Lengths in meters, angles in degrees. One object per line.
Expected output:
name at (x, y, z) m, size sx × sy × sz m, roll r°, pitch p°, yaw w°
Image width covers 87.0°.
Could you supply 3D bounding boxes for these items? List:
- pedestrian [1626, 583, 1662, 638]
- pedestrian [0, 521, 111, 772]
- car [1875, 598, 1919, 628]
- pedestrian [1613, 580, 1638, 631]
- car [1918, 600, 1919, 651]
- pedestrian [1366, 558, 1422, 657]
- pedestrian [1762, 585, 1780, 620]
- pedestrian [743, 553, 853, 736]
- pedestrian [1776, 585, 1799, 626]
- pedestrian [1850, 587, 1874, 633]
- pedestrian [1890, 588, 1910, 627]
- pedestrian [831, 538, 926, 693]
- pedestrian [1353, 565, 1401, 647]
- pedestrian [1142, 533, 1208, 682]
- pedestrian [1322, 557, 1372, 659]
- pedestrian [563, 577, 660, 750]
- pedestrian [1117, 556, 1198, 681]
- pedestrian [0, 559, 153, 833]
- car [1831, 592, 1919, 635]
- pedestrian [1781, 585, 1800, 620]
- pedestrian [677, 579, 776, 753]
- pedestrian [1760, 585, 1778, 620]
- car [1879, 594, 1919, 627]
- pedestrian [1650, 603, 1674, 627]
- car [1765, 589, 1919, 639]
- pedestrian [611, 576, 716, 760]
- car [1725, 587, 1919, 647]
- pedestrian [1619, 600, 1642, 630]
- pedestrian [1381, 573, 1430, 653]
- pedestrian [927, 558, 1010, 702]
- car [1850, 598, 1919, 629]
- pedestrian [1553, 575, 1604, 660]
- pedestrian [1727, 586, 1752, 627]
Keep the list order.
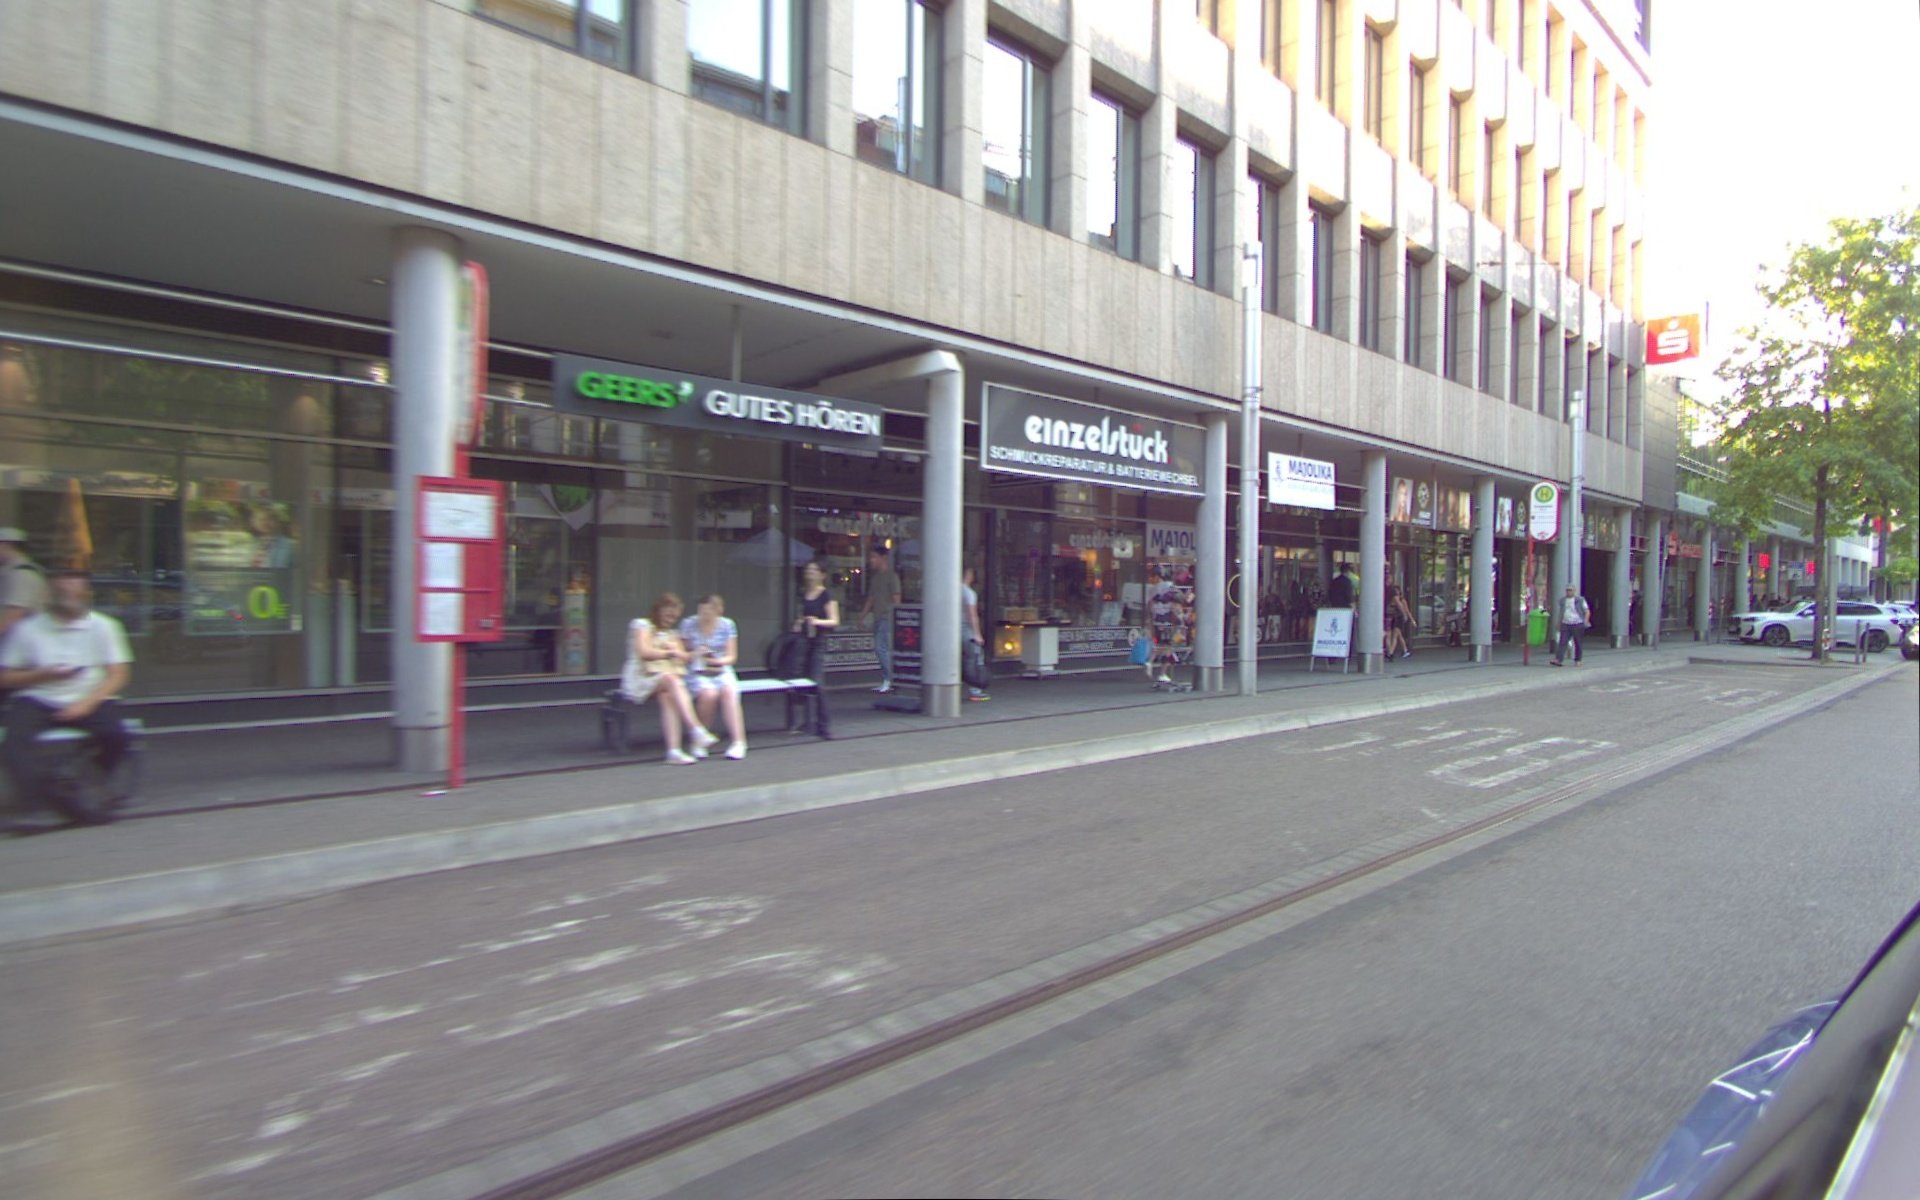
pedestrian at (21.086, 0.302, 31.196) m, size 0.728 × 1.664 × 0.749 m, roll 0°, pitch 2°, yaw -42°
pedestrian at (-6.476, 0.302, 7.185) m, size 0.669 × 1.682 × 0.649 m, roll 0°, pitch 1°, yaw -40°
car at (51.664, 0.669, 53.827) m, size 3.948 × 1.530 × 1.853 m, roll -2°, pitch -1°, yaw 19°
pedestrian at (23.553, 0.183, 35.796) m, size 0.617 × 1.794 × 0.557 m, roll 0°, pitch 2°, yaw -41°
car at (28.845, 0.696, 28.812) m, size 4.484 × 1.426 × 1.797 m, roll 0°, pitch -1°, yaw -40°
pedestrian at (8.605, 0.131, 20.071) m, size 0.782 × 1.912 × 0.708 m, roll 0°, pitch 2°, yaw -41°
pedestrian at (41.136, 0.116, 51.332) m, size 0.617 × 1.712 × 0.557 m, roll 0°, pitch 2°, yaw -41°
pedestrian at (-1.496, 0.374, 9.313) m, size 0.723 × 1.589 × 0.726 m, roll 0°, pitch 2°, yaw -40°
pedestrian at (34.737, 0.224, 42.485) m, size 0.617 × 1.712 × 0.617 m, roll 0°, pitch 2°, yaw -41°
pedestrian at (36.278, 0.385, 40.690) m, size 0.617 × 1.822 × 0.617 m, roll 0°, pitch 2°, yaw -41°
pedestrian at (41.457, 0.320, 44.643) m, size 0.616 × 1.712 × 0.618 m, roll 1°, pitch 0°, yaw 44°
pedestrian at (-1.054, 0.174, 13.121) m, size 0.883 × 1.912 × 0.846 m, roll 0°, pitch 2°, yaw -41°
pedestrian at (9.347, 0.127, 22.671) m, size 0.849 × 1.794 × 0.674 m, roll 0°, pitch 2°, yaw -43°
pedestrian at (2.927, 0.092, 13.788) m, size 0.644 × 1.968 × 0.579 m, roll 0°, pitch 2°, yaw -42°
pedestrian at (7.471, 0.135, 19.523) m, size 0.671 × 1.912 × 0.617 m, roll 0°, pitch 2°, yaw -40°
pedestrian at (-2.862, 0.487, 8.300) m, size 0.523 × 1.331 × 0.719 m, roll 0°, pitch 2°, yaw -40°
pedestrian at (2.988, 0.251, 15.311) m, size 0.844 × 1.819 × 0.846 m, roll 0°, pitch 2°, yaw -41°
pedestrian at (-4.943, 0.485, 5.667) m, size 0.651 × 1.398 × 0.814 m, roll 0°, pitch 0°, yaw -40°
car at (43.855, 0.617, 47.290) m, size 4.397 × 1.904 × 1.793 m, roll -2°, pitch -1°, yaw 12°
pedestrian at (41.637, 0.121, 50.748) m, size 0.617 × 1.712 × 0.617 m, roll 0°, pitch 2°, yaw -41°
pedestrian at (-1.894, 0.502, 8.182) m, size 0.515 × 1.331 × 0.719 m, roll 0°, pitch 0°, yaw -40°
pedestrian at (39.905, 0.133, 49.925) m, size 0.617 × 1.712 × 0.557 m, roll 0°, pitch 2°, yaw -41°
car at (54.913, 0.577, 57.150) m, size 3.957 × 1.809 × 1.849 m, roll -2°, pitch -1°, yaw 25°
pedestrian at (27.150, 0.565, 39.150) m, size 0.548 × 0.892 × 0.627 m, roll 0°, pitch 2°, yaw -42°
car at (33.300, 0.501, 37.779) m, size 4.570 × 1.607 × 1.910 m, roll 3°, pitch 2°, yaw 14°
pedestrian at (-2.296, 0.490, 7.813) m, size 0.523 × 1.331 × 0.719 m, roll 0°, pitch 2°, yaw -40°
car at (28.011, 0.518, 32.879) m, size 4.575 × 1.650 × 1.908 m, roll 3°, pitch 0°, yaw 17°
pedestrian at (24.239, 0.530, 36.568) m, size 0.625 × 1.048 × 0.550 m, roll 2°, pitch 2°, yaw 40°
pedestrian at (9.491, 0.258, 21.563) m, size 0.775 × 1.664 × 0.682 m, roll 0°, pitch 2°, yaw -43°
pedestrian at (0.105, 0.340, 12.288) m, size 0.709 × 1.682 × 0.689 m, roll 0°, pitch 2°, yaw -41°
car at (48.676, 0.693, 52.028) m, size 3.948 × 1.530 × 1.789 m, roll -2°, pitch -1°, yaw 19°
pedestrian at (11.967, 0.337, 19.594) m, size 0.627 × 1.608 × 0.669 m, roll 0°, pitch -1°, yaw -42°
pedestrian at (33.609, 0.279, 43.650) m, size 0.618 × 1.712 × 0.556 m, roll 1°, pitch 1°, yaw 11°
